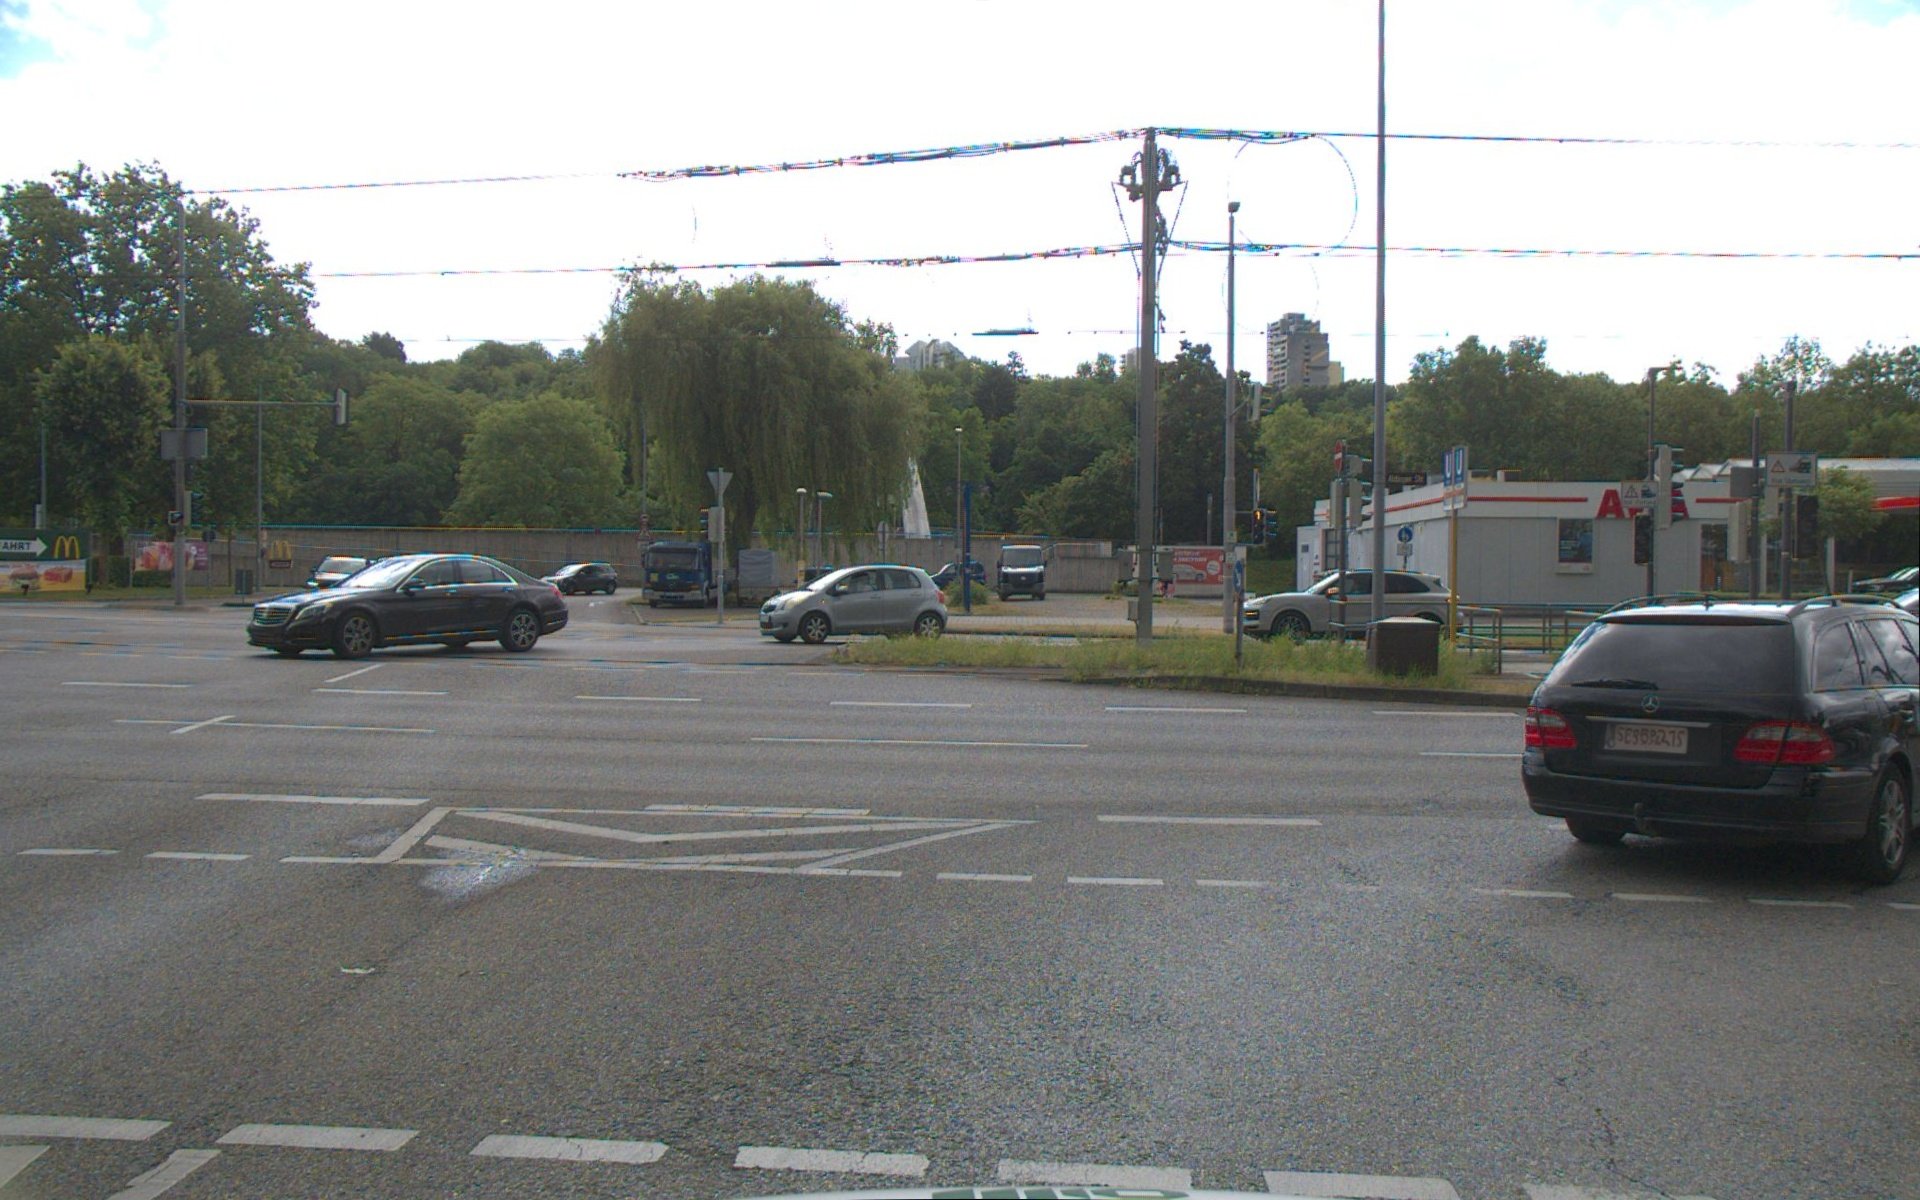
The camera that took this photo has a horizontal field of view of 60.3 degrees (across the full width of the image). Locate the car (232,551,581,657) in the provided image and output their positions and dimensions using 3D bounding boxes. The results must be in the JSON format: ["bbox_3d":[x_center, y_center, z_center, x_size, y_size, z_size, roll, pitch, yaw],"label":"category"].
[{"bbox_3d":[-8.378,0.027,25.476,1.796,1.475,4.973,1,1,38],"label":"car"}]

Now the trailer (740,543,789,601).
[{"bbox_3d":[-8.079,-1.119,68.503,1.523,2.297,4.391,1,0,-1],"label":"trailer"}]

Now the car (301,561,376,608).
[{"bbox_3d":[-20.765,-0.532,55.200,1.772,1.457,3.605,0,2,-30],"label":"car"}]

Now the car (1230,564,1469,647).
[{"bbox_3d":[8.305,0.100,35.523,4.739,1.671,1.677,1,1,0],"label":"car"}]

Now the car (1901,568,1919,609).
[{"bbox_3d":[33.926,-0.357,55.700,3.549,1.373,1.619,1,1,1],"label":"car"}]

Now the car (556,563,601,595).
[{"bbox_3d":[-18.176,-1.019,79.009,1.757,1.457,4.275,1,1,-9],"label":"car"}]

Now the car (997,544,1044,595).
[{"bbox_3d":[2.612,-1.305,71.871,1.803,2.088,4.381,1,0,-1],"label":"car"}]

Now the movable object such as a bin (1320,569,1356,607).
[{"bbox_3d":[15.557,-0.497,68.098,1.339,1.510,1.105,1,0,6],"label":"movable object such as a bin"}]

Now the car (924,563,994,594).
[{"bbox_3d":[-0.078,-1.126,88.504,3.561,1.582,1.724,1,0,-8],"label":"car"}]

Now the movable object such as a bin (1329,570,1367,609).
[{"bbox_3d":[15.500,-0.416,66.101,1.339,1.520,1.105,1,0,6],"label":"movable object such as a bin"}]

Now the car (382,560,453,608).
[{"bbox_3d":[-17.464,-0.538,53.378,1.759,1.457,4.404,0,1,-13],"label":"car"}]

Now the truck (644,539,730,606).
[{"bbox_3d":[-10.870,-1.111,66.344,2.329,2.537,5.827,1,1,1],"label":"truck"}]

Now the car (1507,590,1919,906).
[{"bbox_3d":[5.227,0.705,10.209,1.808,1.503,4.385,1,1,44],"label":"car"}]

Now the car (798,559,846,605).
[{"bbox_3d":[-5.594,-0.763,67.370,1.714,1.773,3.857,1,2,-2],"label":"car"}]

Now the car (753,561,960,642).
[{"bbox_3d":[-2.030,0.024,32.442,3.729,1.513,1.663,0,1,-26],"label":"car"}]

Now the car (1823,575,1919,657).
[{"bbox_3d":[20.880,0.344,35.252,4.026,1.669,1.751,1,1,0],"label":"car"}]
